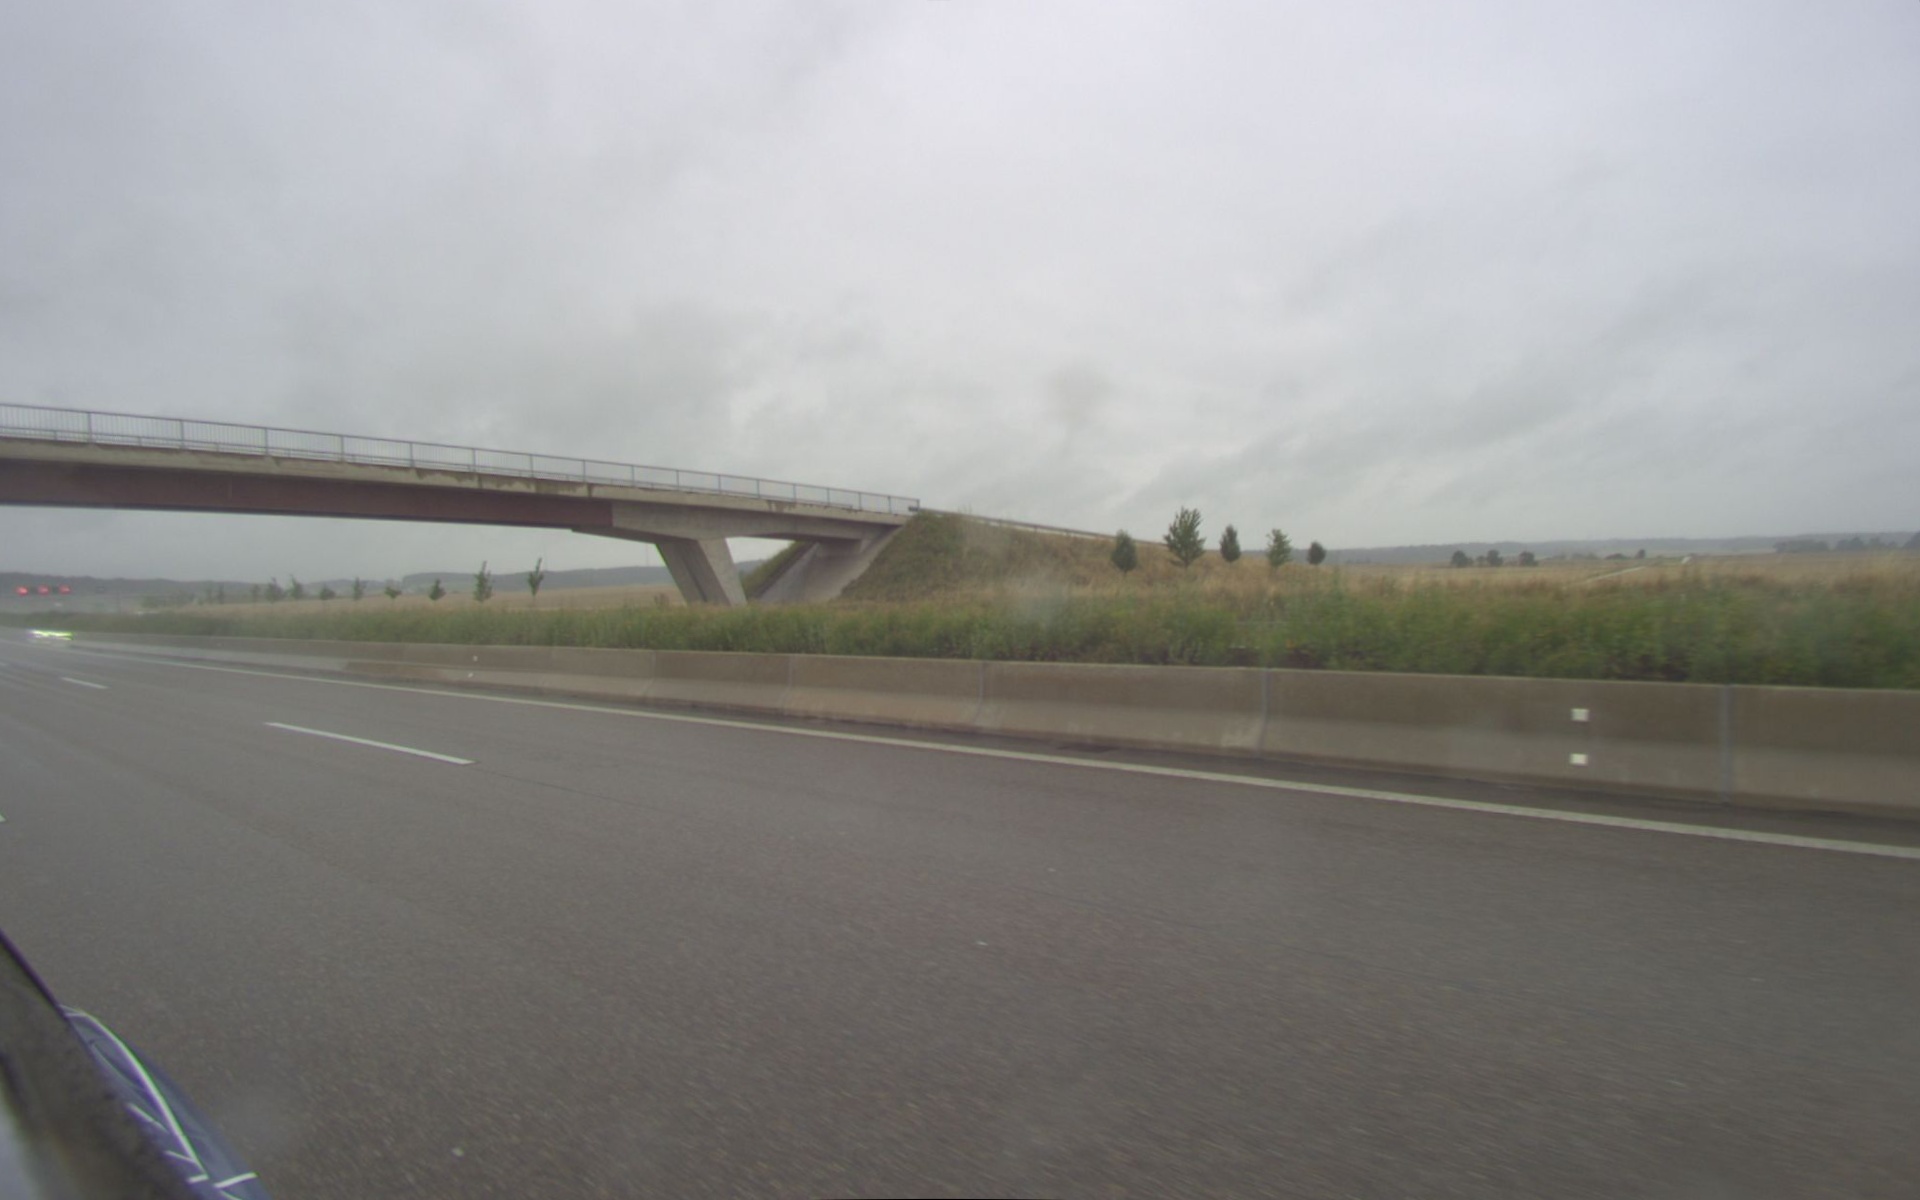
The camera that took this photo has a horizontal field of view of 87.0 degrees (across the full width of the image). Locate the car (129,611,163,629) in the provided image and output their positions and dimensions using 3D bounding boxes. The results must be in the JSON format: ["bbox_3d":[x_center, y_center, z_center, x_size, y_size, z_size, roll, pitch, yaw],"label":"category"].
[{"bbox_3d":[-70.982,1.734,88.228,4.144,1.563,1.628,-1,0,41],"label":"car"}]
